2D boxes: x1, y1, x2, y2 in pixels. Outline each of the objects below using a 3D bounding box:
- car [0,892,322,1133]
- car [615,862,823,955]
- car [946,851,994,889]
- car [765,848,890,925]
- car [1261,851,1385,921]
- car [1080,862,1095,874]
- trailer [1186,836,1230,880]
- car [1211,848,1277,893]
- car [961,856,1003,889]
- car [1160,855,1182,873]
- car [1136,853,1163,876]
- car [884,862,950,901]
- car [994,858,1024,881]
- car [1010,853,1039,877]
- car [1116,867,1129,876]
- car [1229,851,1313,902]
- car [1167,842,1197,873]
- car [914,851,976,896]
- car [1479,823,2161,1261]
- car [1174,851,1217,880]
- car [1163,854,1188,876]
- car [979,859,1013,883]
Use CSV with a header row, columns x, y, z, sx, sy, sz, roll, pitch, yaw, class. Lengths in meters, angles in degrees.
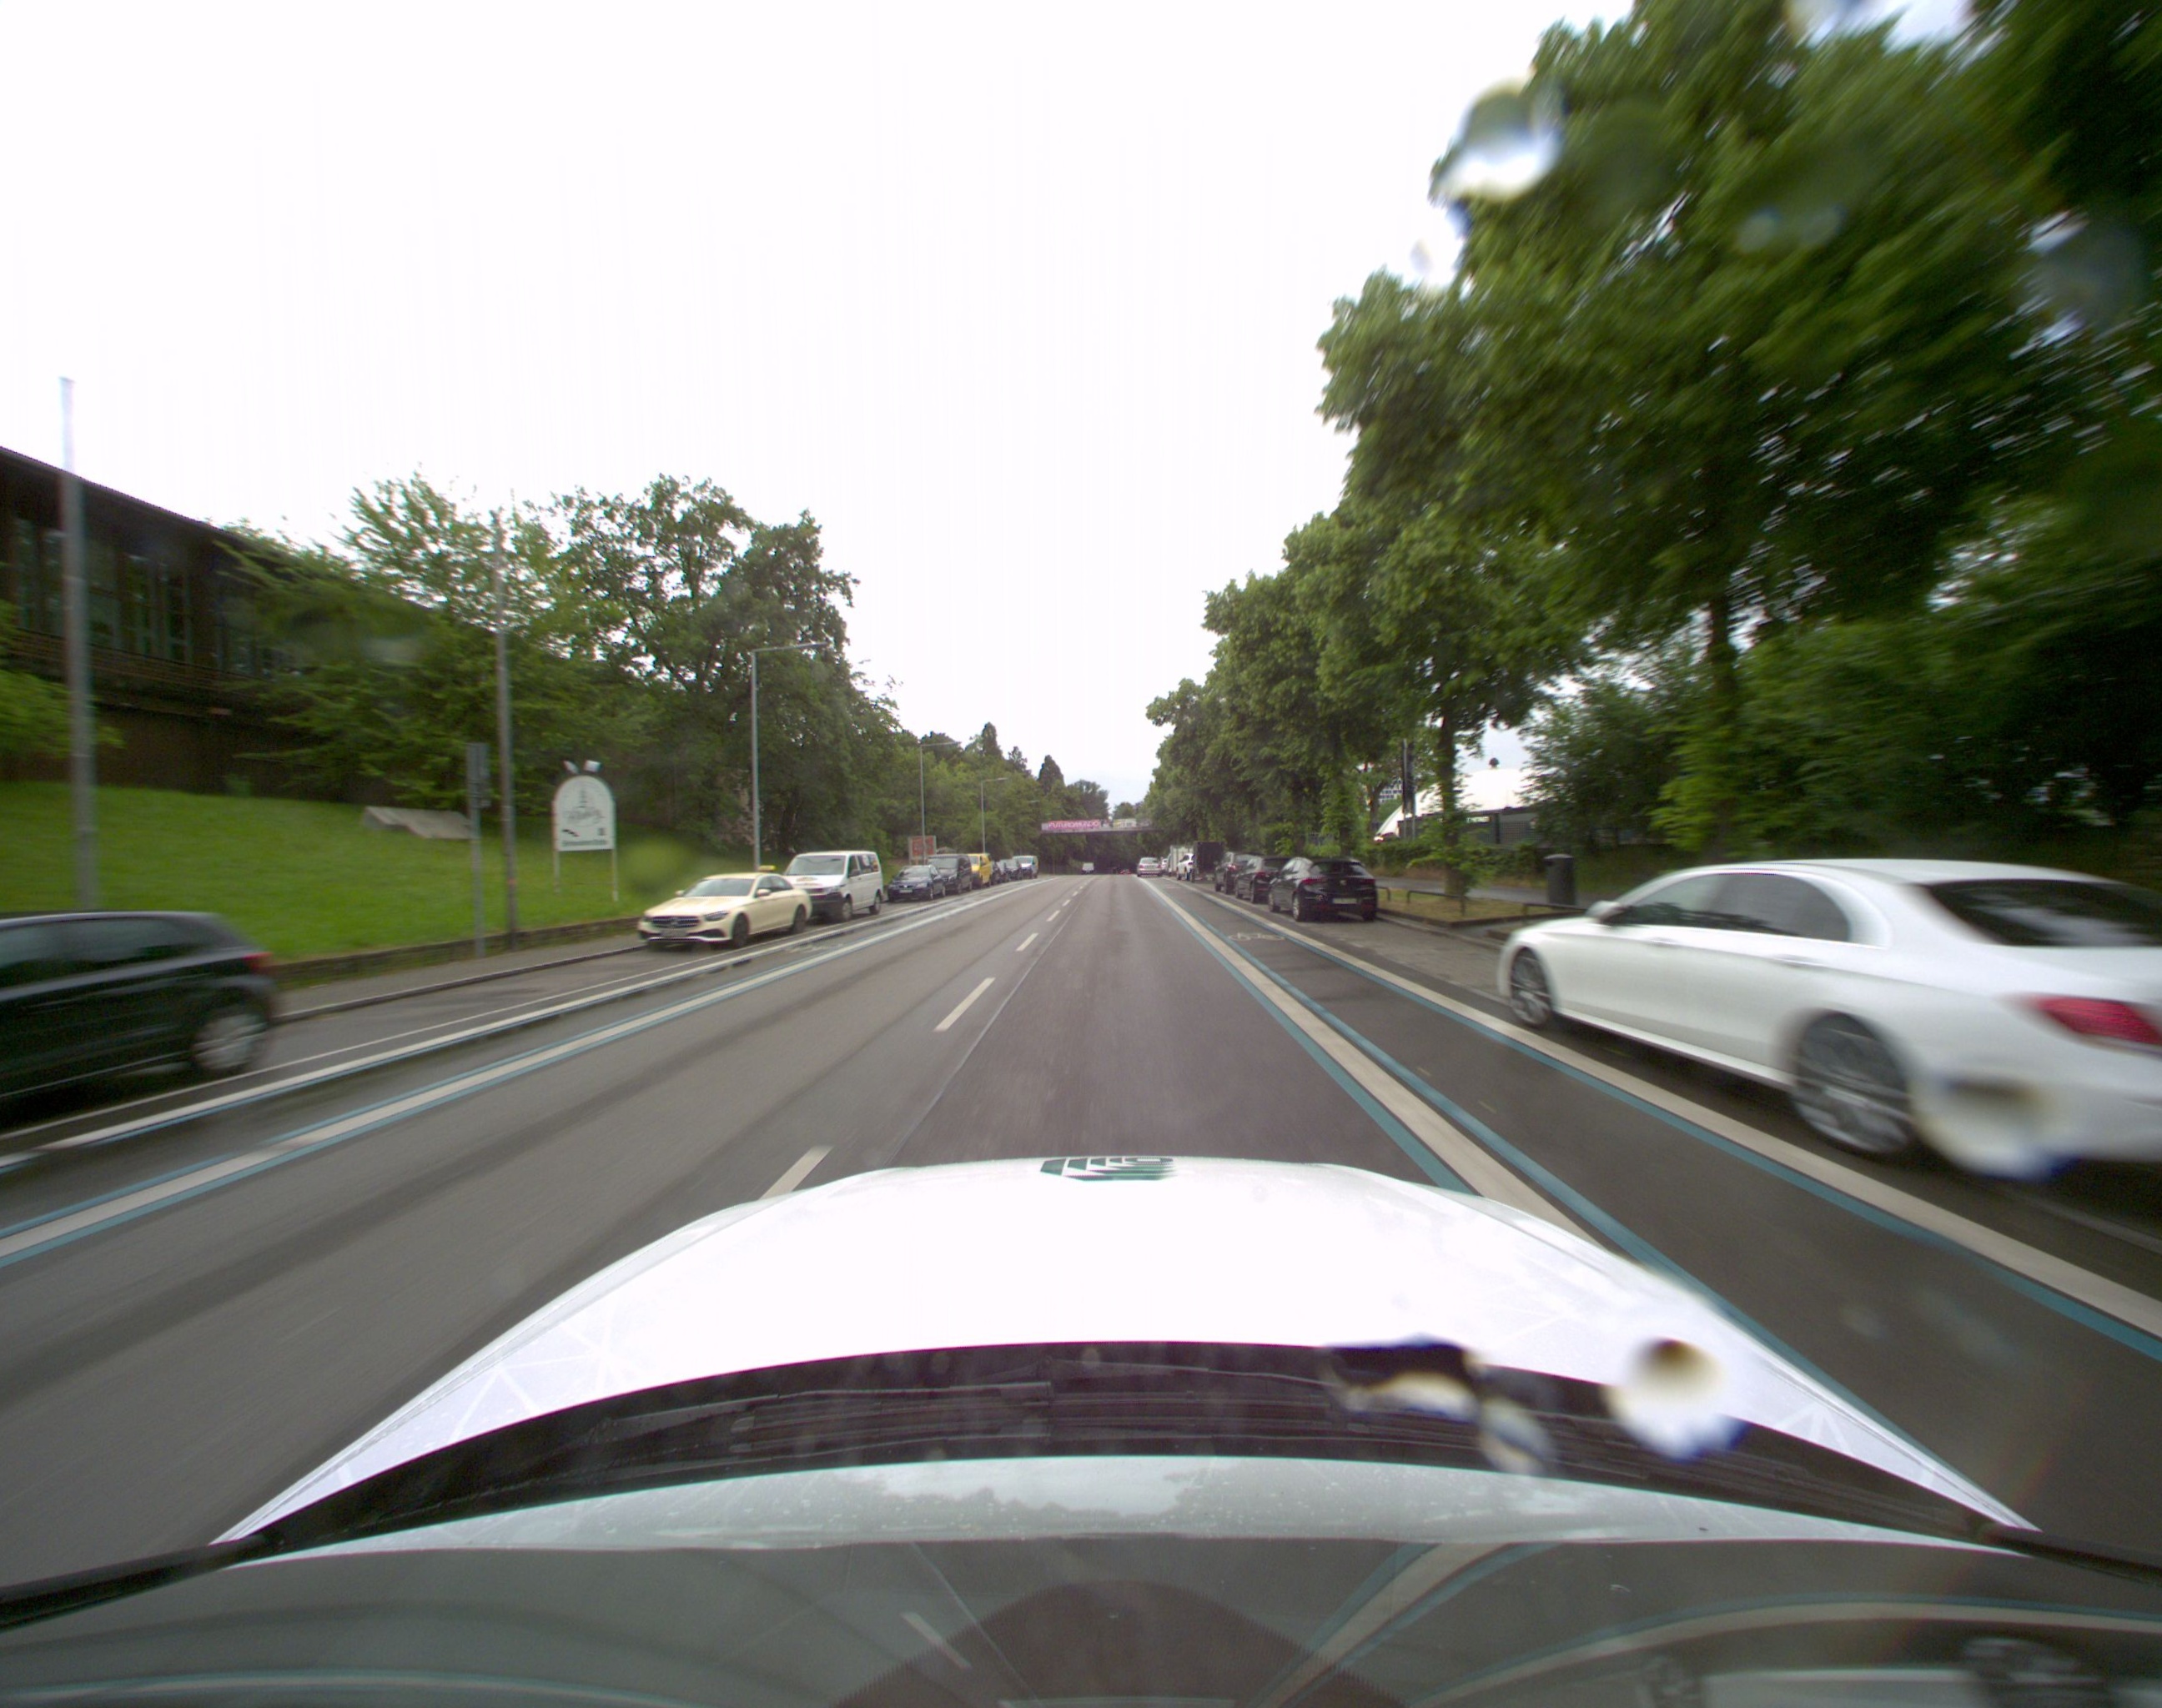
x,y,z,sx,sy,sz,roll,pitch,yaw,class
-7.878,1.115,5.440,1.689,1.437,4.056,-2,1,1,car
-7.509,1.030,17.587,1.982,1.605,4.989,-2,0,3,car
-6.202,0.844,46.009,1.876,1.945,4.827,-2,1,1,car
-7.220,0.830,23.775,1.906,1.931,4.930,-2,1,1,car
5.647,0.683,19.551,1.725,1.463,4.277,-1,0,1,car
0.867,1.837,107.329,1.863,1.473,4.052,-2,-2,-1,car
6.736,0.219,43.514,1.876,2.166,3.811,-2,0,3,trailer
6.181,0.596,31.316,1.725,1.583,4.154,0,0,1,car
-6.172,1.122,51.093,1.983,1.893,4.056,-2,1,1,car
7.934,0.897,72.142,1.723,1.462,4.048,-2,0,3,car
5.070,0.761,60.743,1.724,1.583,4.038,-2,0,2,car
-6.811,1.117,34.291,1.725,1.390,4.372,-2,1,1,car
-5.483,1.147,62.504,1.864,1.542,4.053,-2,1,-1,car
-4.836,0.924,69.933,1.749,1.931,4.199,-2,1,5,car
7.647,3.144,149.217,2.130,1.492,4.504,-1,0,5,car
5.930,0.662,25.841,1.725,1.463,4.073,-1,0,1,car
7.413,0.240,60.144,1.881,2.127,4.048,-2,0,3,car
-6.533,0.871,39.752,1.983,1.946,5.144,-2,1,2,car
4.687,0.665,5.315,1.783,1.543,4.888,0,0,0,car
6.668,0.649,47.632,1.727,1.583,4.150,-2,0,-2,car
7.559,0.836,65.510,1.723,1.684,4.048,-2,0,3,car
-5.857,1.165,56.590,1.880,1.451,3.981,-2,1,-1,car
